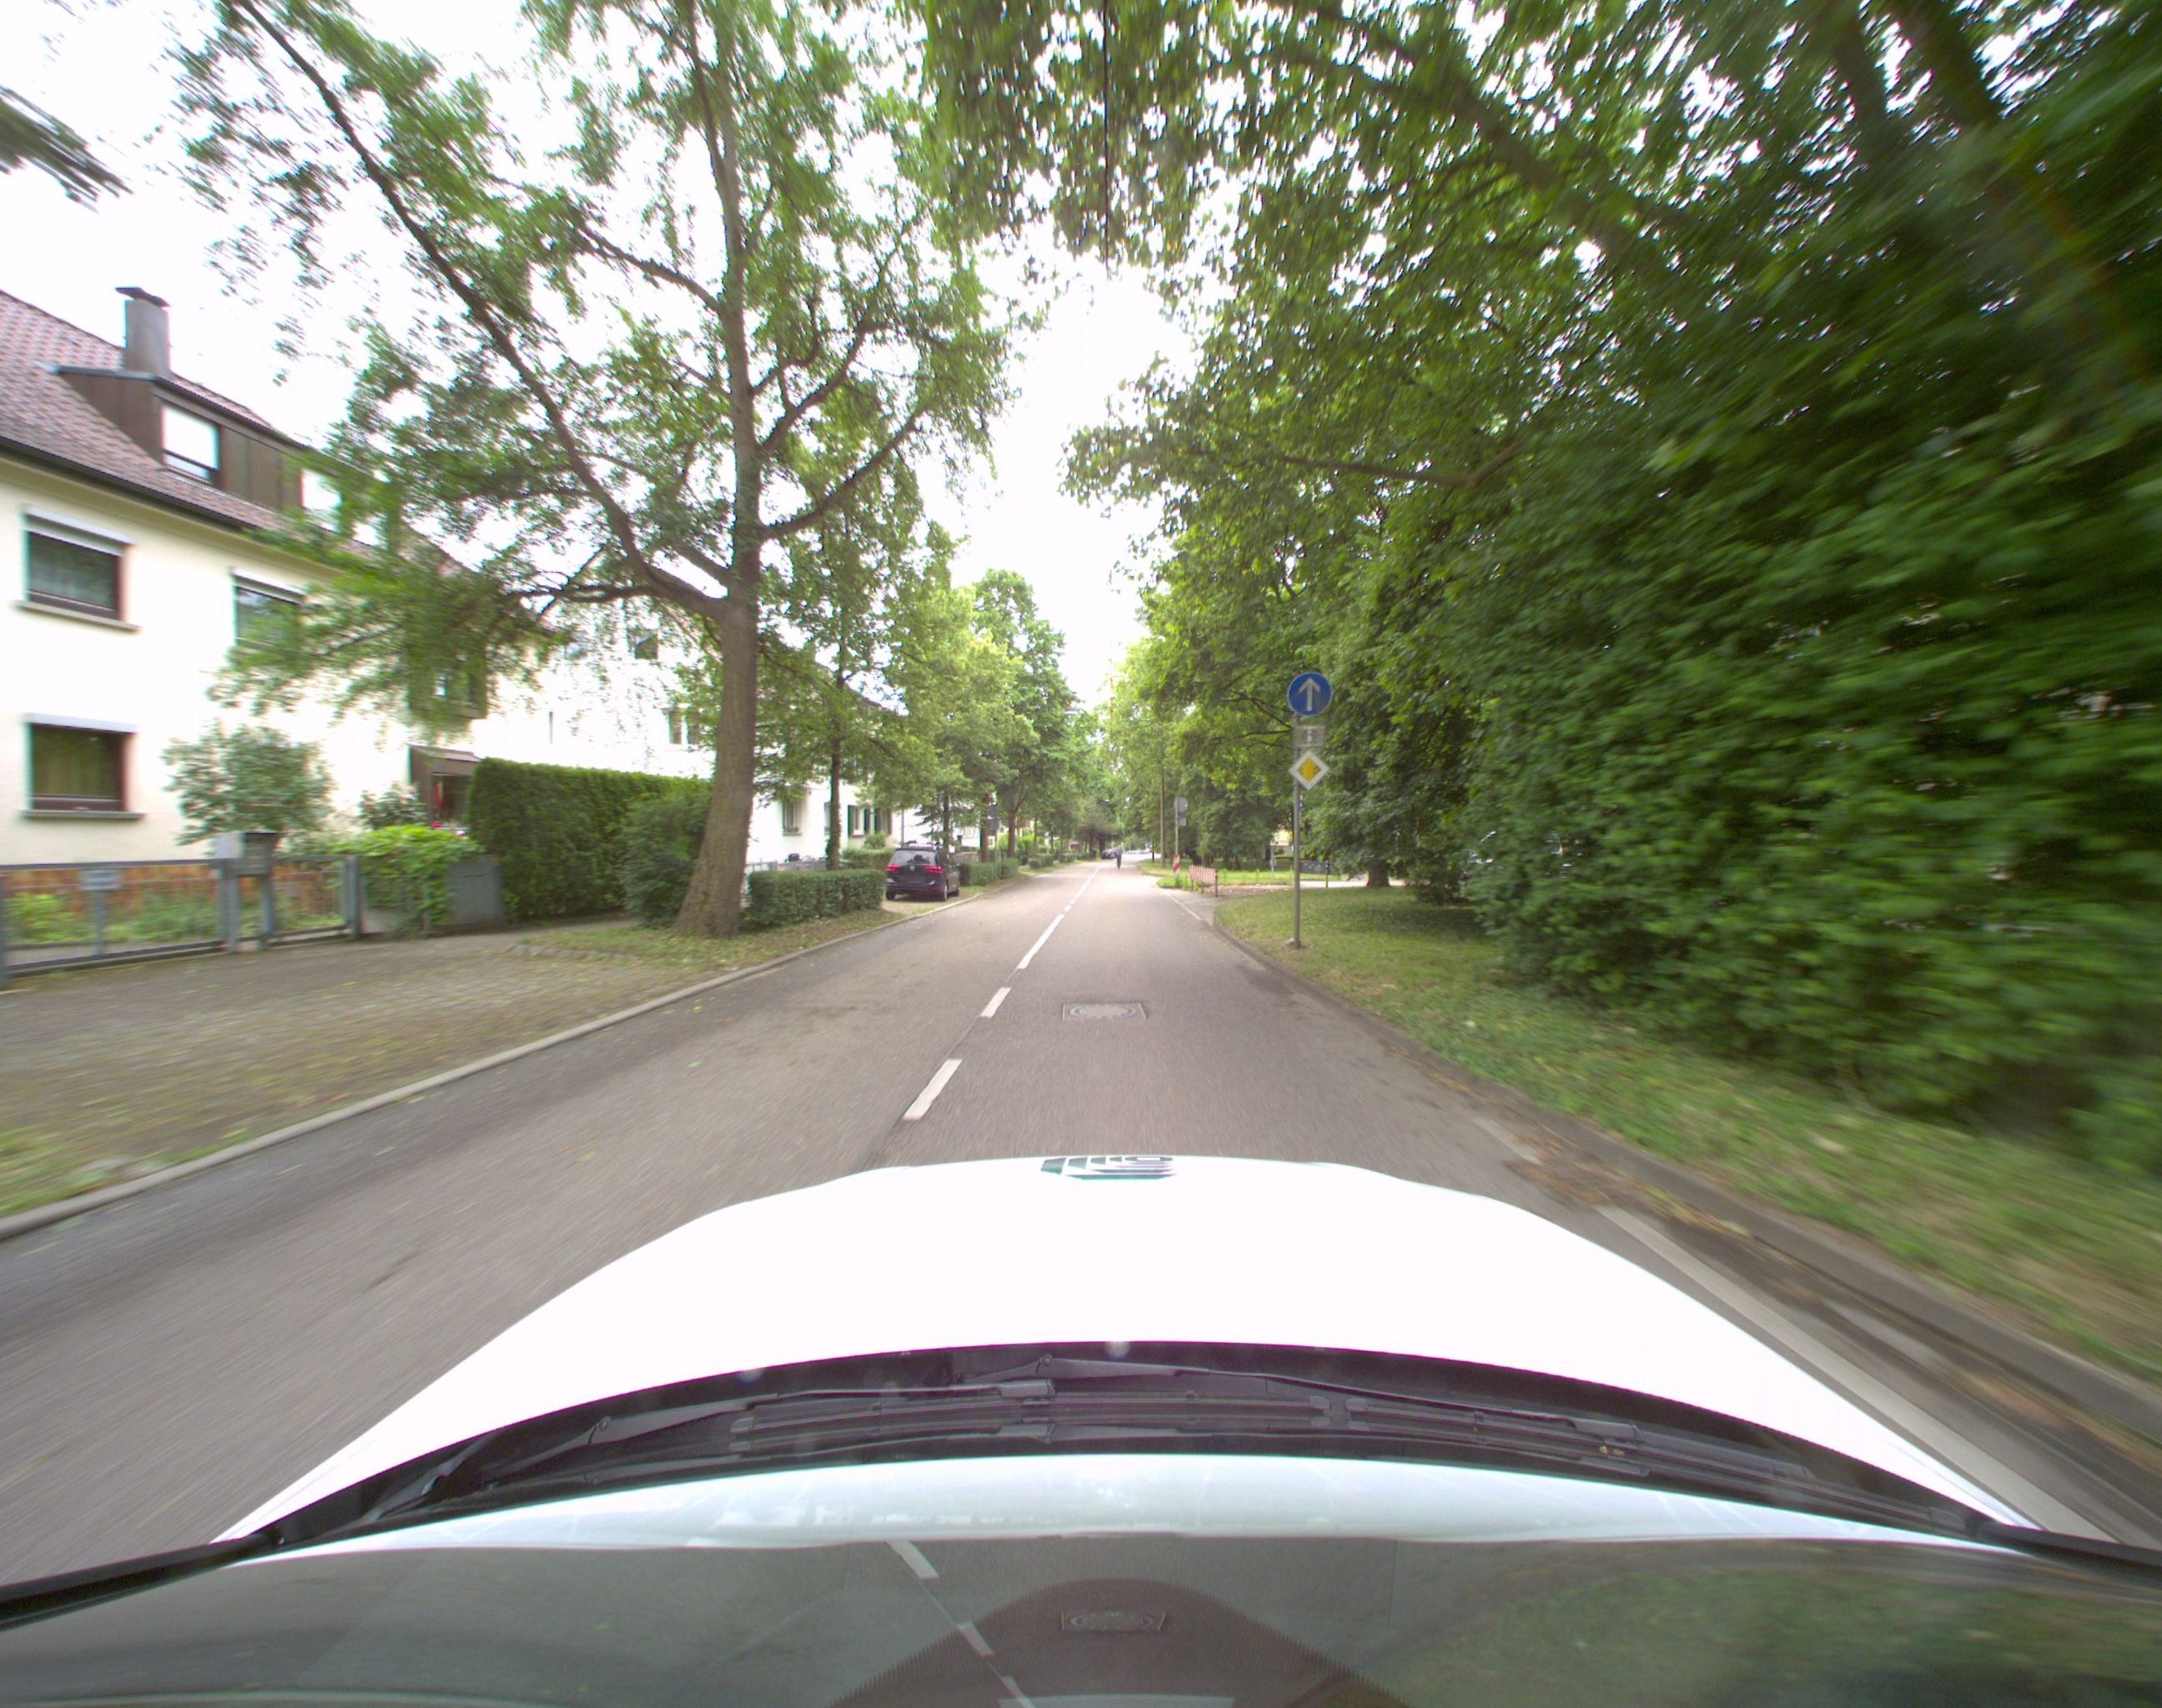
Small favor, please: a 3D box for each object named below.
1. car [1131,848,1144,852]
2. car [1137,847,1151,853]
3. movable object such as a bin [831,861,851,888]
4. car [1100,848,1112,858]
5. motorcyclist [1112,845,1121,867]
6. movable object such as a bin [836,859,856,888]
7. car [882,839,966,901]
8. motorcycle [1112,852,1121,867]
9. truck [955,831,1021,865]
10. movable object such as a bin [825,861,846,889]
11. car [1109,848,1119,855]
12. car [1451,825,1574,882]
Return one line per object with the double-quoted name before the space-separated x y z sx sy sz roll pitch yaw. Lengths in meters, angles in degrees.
"car" 17.822 -1.269 257.424 3.971 1.510 1.801 -1 0 2
"car" 18.977 -1.204 244.648 3.971 1.510 1.801 -1 0 2
"movable object such as a bin" -8.575 0.735 29.129 0.558 0.940 0.640 -1 0 -3
"car" 4.125 -0.159 133.076 1.787 1.472 4.422 -1 0 3
"motorcyclist" 2.878 0.147 65.499 0.669 1.761 0.640 1 0 6
"movable object such as a bin" -8.595 0.699 29.789 0.558 1.025 0.601 -1 0 -3
"car" -4.818 0.448 25.552 1.819 1.754 4.451 1 0 -1
"motorcycle" 2.854 0.454 65.351 0.669 1.217 1.276 1 0 7
"truck" -8.643 -0.554 76.063 5.774 3.131 2.519 0 0 2
"movable object such as a bin" -8.579 0.735 28.466 0.558 0.940 0.640 -1 0 -3
"car" 6.646 -0.441 163.849 1.882 1.410 4.561 -1 -1 6
"car" 18.672 -0.033 35.213 5.343 2.299 2.270 0 1 -31
